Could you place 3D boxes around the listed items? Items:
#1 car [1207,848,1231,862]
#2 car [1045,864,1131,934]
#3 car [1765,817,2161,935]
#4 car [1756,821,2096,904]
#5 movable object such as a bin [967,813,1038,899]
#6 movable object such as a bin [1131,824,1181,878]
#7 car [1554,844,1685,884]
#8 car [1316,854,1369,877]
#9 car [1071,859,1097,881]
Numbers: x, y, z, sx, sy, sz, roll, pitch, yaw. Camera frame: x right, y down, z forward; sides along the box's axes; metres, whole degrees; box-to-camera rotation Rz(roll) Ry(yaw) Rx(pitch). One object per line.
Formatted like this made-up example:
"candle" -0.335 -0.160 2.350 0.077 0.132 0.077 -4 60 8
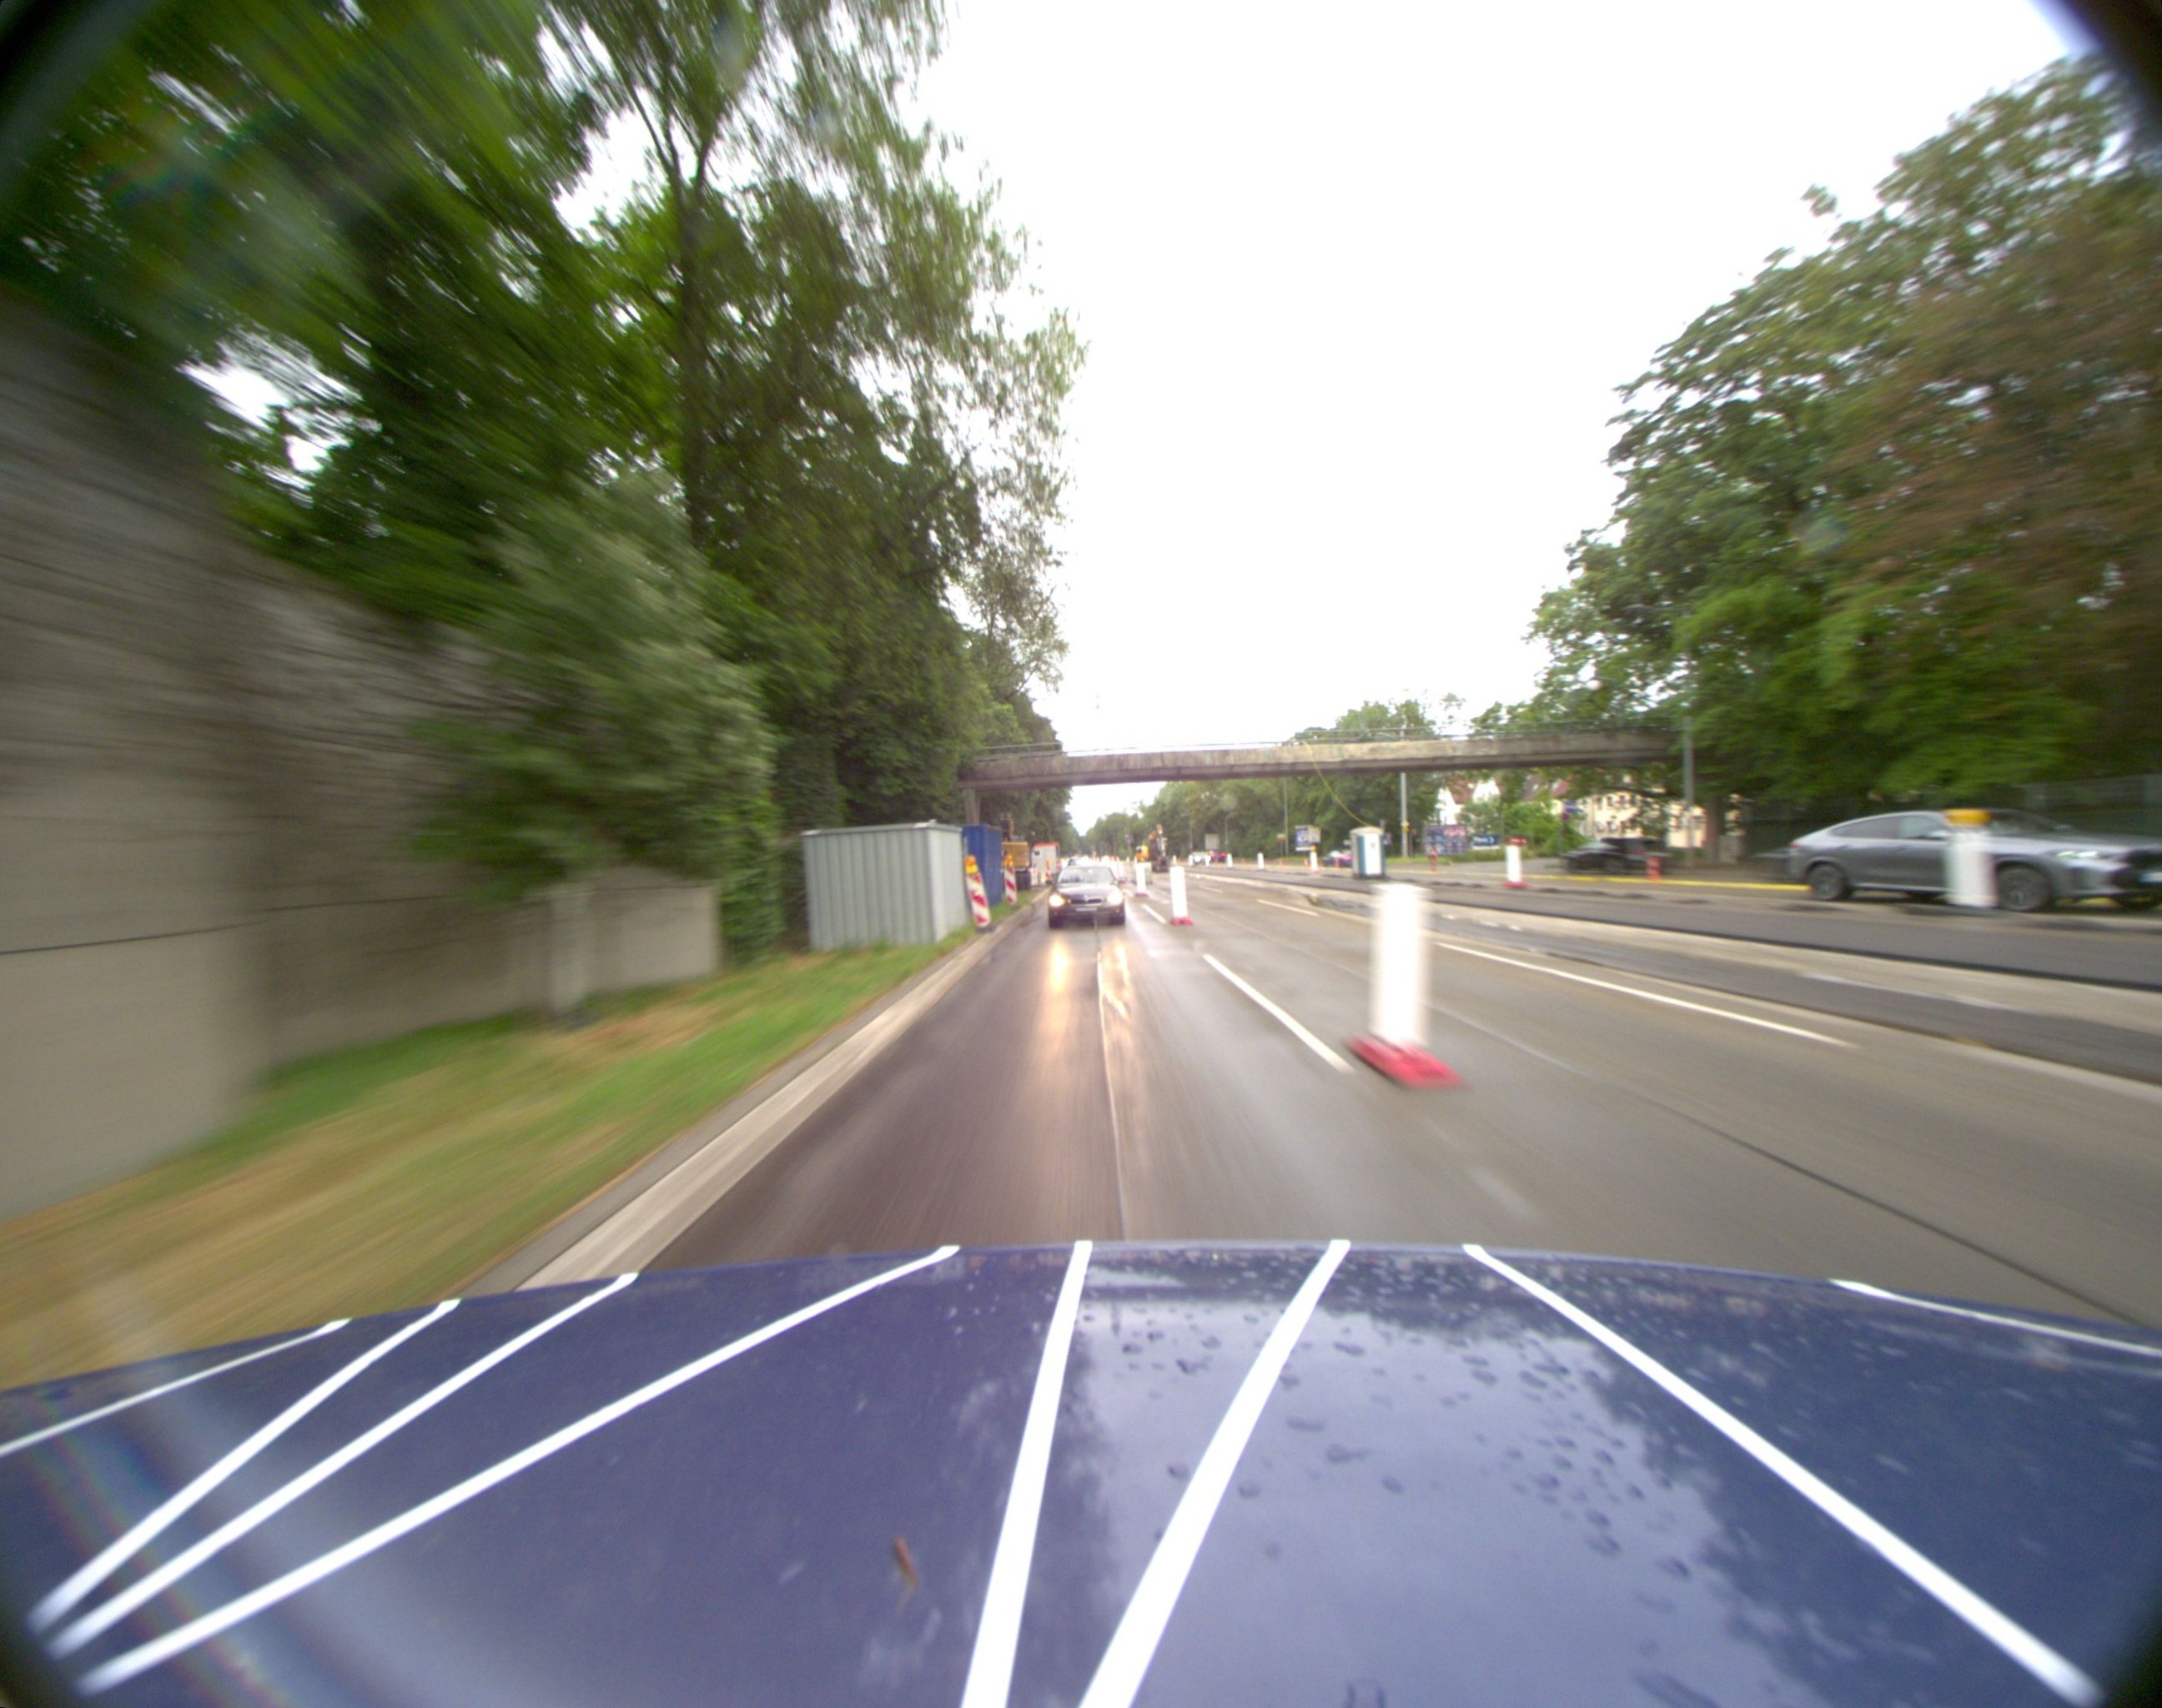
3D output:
"car" 18.813 0.130 103.704 2.221 1.728 5.056 -3 0 0
"car" 0.125 1.023 18.819 1.838 1.397 3.999 -3 0 -1
"car" 15.250 0.289 13.232 2.082 1.604 5.056 -3 0 0
"car" 18.723 0.192 17.350 2.083 1.504 5.090 -3 -1 1
"movable object such as a bin" -3.850 0.102 38.703 2.890 3.917 6.105 -3 0 -1
"movable object such as a bin" 6.820 -0.234 70.630 3.526 4.495 10.069 -3 0 1
"car" 20.895 0.323 29.741 1.998 1.340 4.566 -3 1 2
"car" 18.443 0.757 53.919 1.999 1.451 4.883 -3 0 0
"car" 0.270 1.317 64.435 1.998 1.650 4.229 -3 0 1
